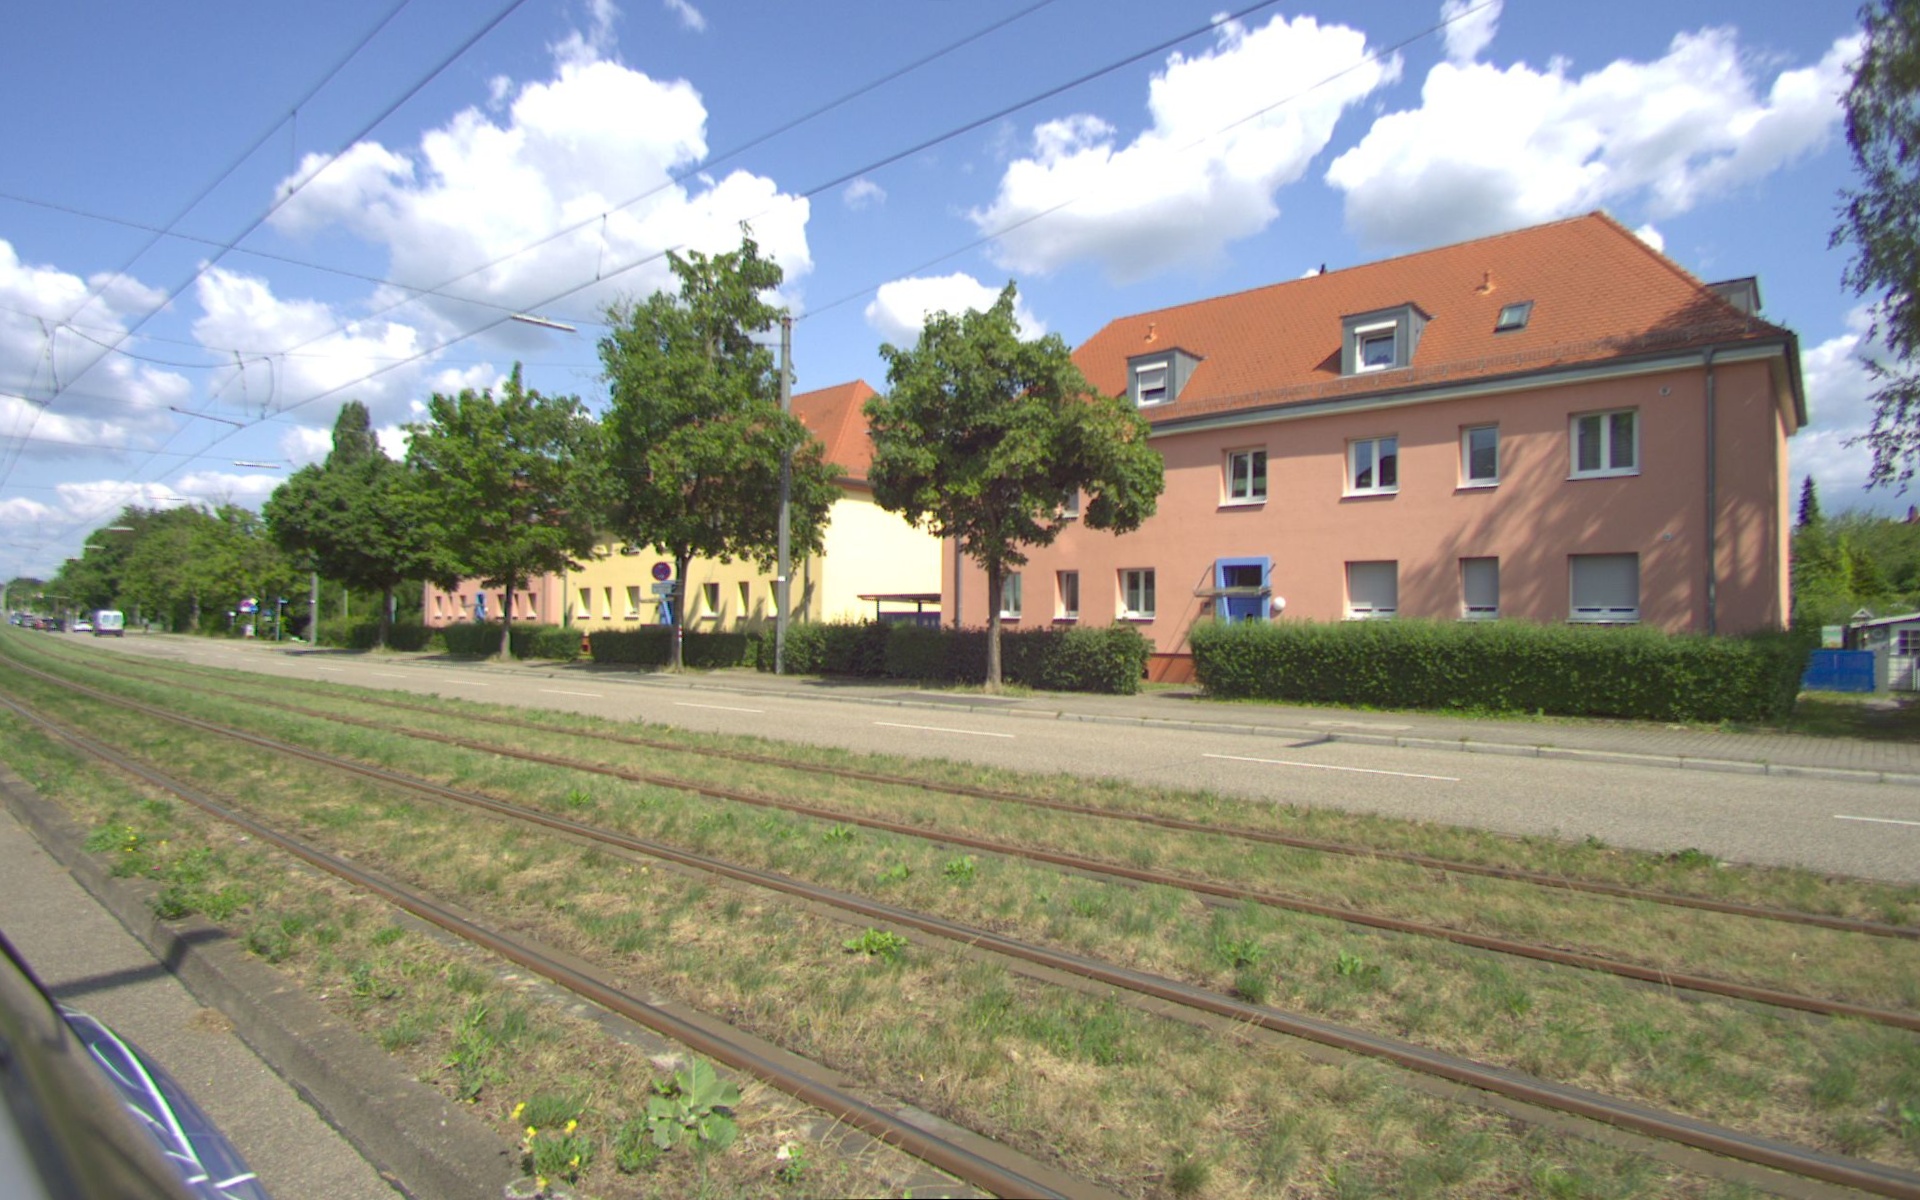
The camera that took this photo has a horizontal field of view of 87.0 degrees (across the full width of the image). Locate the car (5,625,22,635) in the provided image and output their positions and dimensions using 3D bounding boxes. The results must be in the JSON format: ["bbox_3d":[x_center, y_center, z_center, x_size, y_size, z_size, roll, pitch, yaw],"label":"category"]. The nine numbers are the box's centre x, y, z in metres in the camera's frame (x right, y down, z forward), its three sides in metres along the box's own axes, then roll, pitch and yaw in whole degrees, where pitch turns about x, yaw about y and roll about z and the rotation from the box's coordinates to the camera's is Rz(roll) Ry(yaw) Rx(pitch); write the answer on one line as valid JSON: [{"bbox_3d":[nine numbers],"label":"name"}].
[{"bbox_3d":[-165.910,5.208,177.413,2.091,1.664,4.280,2,-2,-44],"label":"car"}]

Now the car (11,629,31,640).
[{"bbox_3d":[-145.353,5.304,156.647,2.091,1.664,4.280,2,-2,-44],"label":"car"}]

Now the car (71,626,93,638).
[{"bbox_3d":[-107.028,3.882,123.354,4.278,1.442,1.666,-1,-2,45],"label":"car"}]

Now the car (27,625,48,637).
[{"bbox_3d":[-121.640,4.048,133.408,4.277,1.591,1.708,-1,-2,44],"label":"car"}]

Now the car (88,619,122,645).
[{"bbox_3d":[-84.786,3.137,100.329,5.780,2.455,2.009,-1,-4,45],"label":"car"}]

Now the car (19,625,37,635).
[{"bbox_3d":[-132.320,4.281,143.673,1.707,1.405,4.280,2,-2,-44],"label":"car"}]

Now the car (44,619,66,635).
[{"bbox_3d":[-106.451,3.177,118.997,4.229,1.760,1.666,-1,-2,45],"label":"car"}]
